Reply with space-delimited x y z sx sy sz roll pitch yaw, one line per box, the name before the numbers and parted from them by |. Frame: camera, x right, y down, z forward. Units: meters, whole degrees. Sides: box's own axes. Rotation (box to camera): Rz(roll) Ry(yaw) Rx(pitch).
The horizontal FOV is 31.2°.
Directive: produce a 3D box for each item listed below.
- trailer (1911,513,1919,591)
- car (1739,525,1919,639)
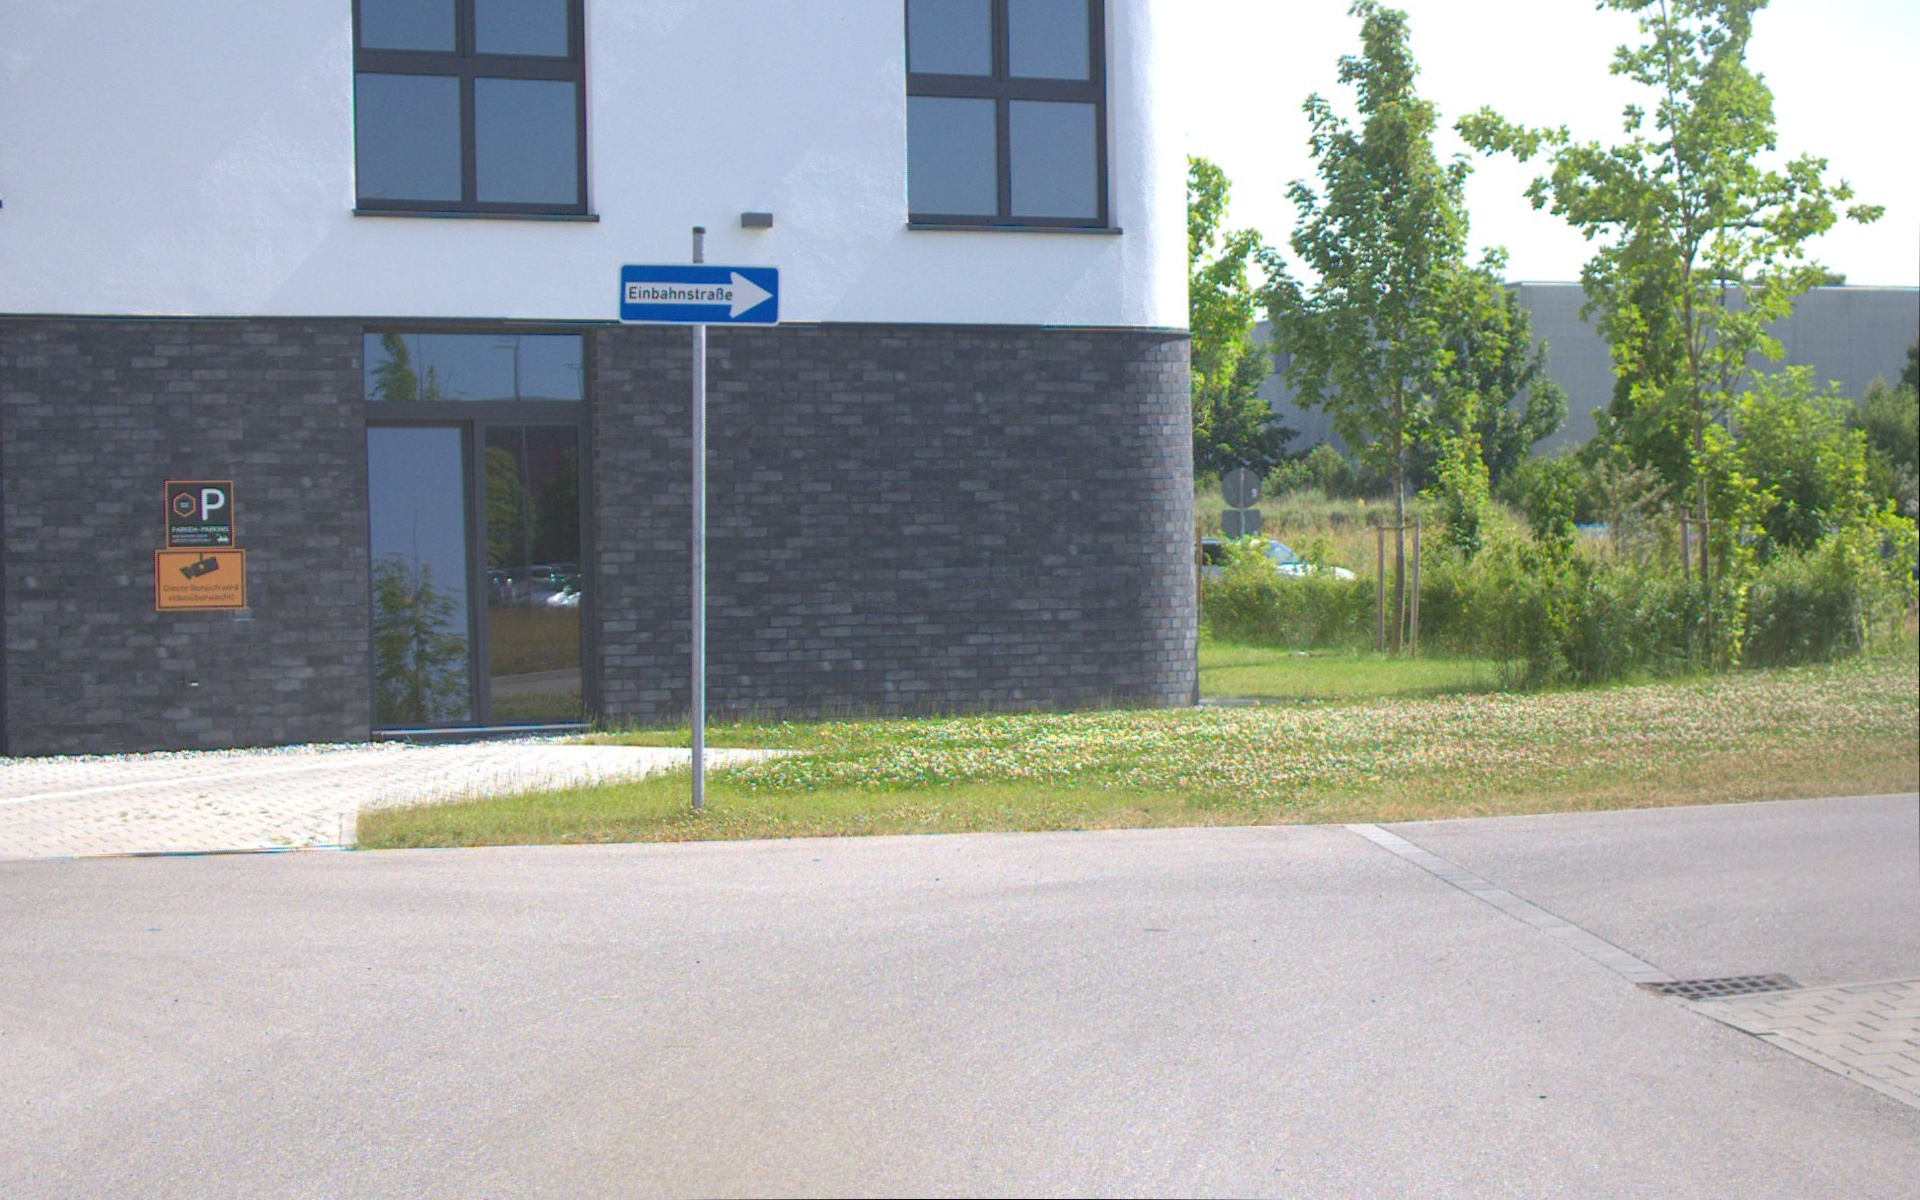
trailer | 24.503 -1.174 83.281 1.825 1.853 3.993 1 2 31
car | 13.323 -0.271 48.265 1.909 1.546 4.386 -1 2 -41
